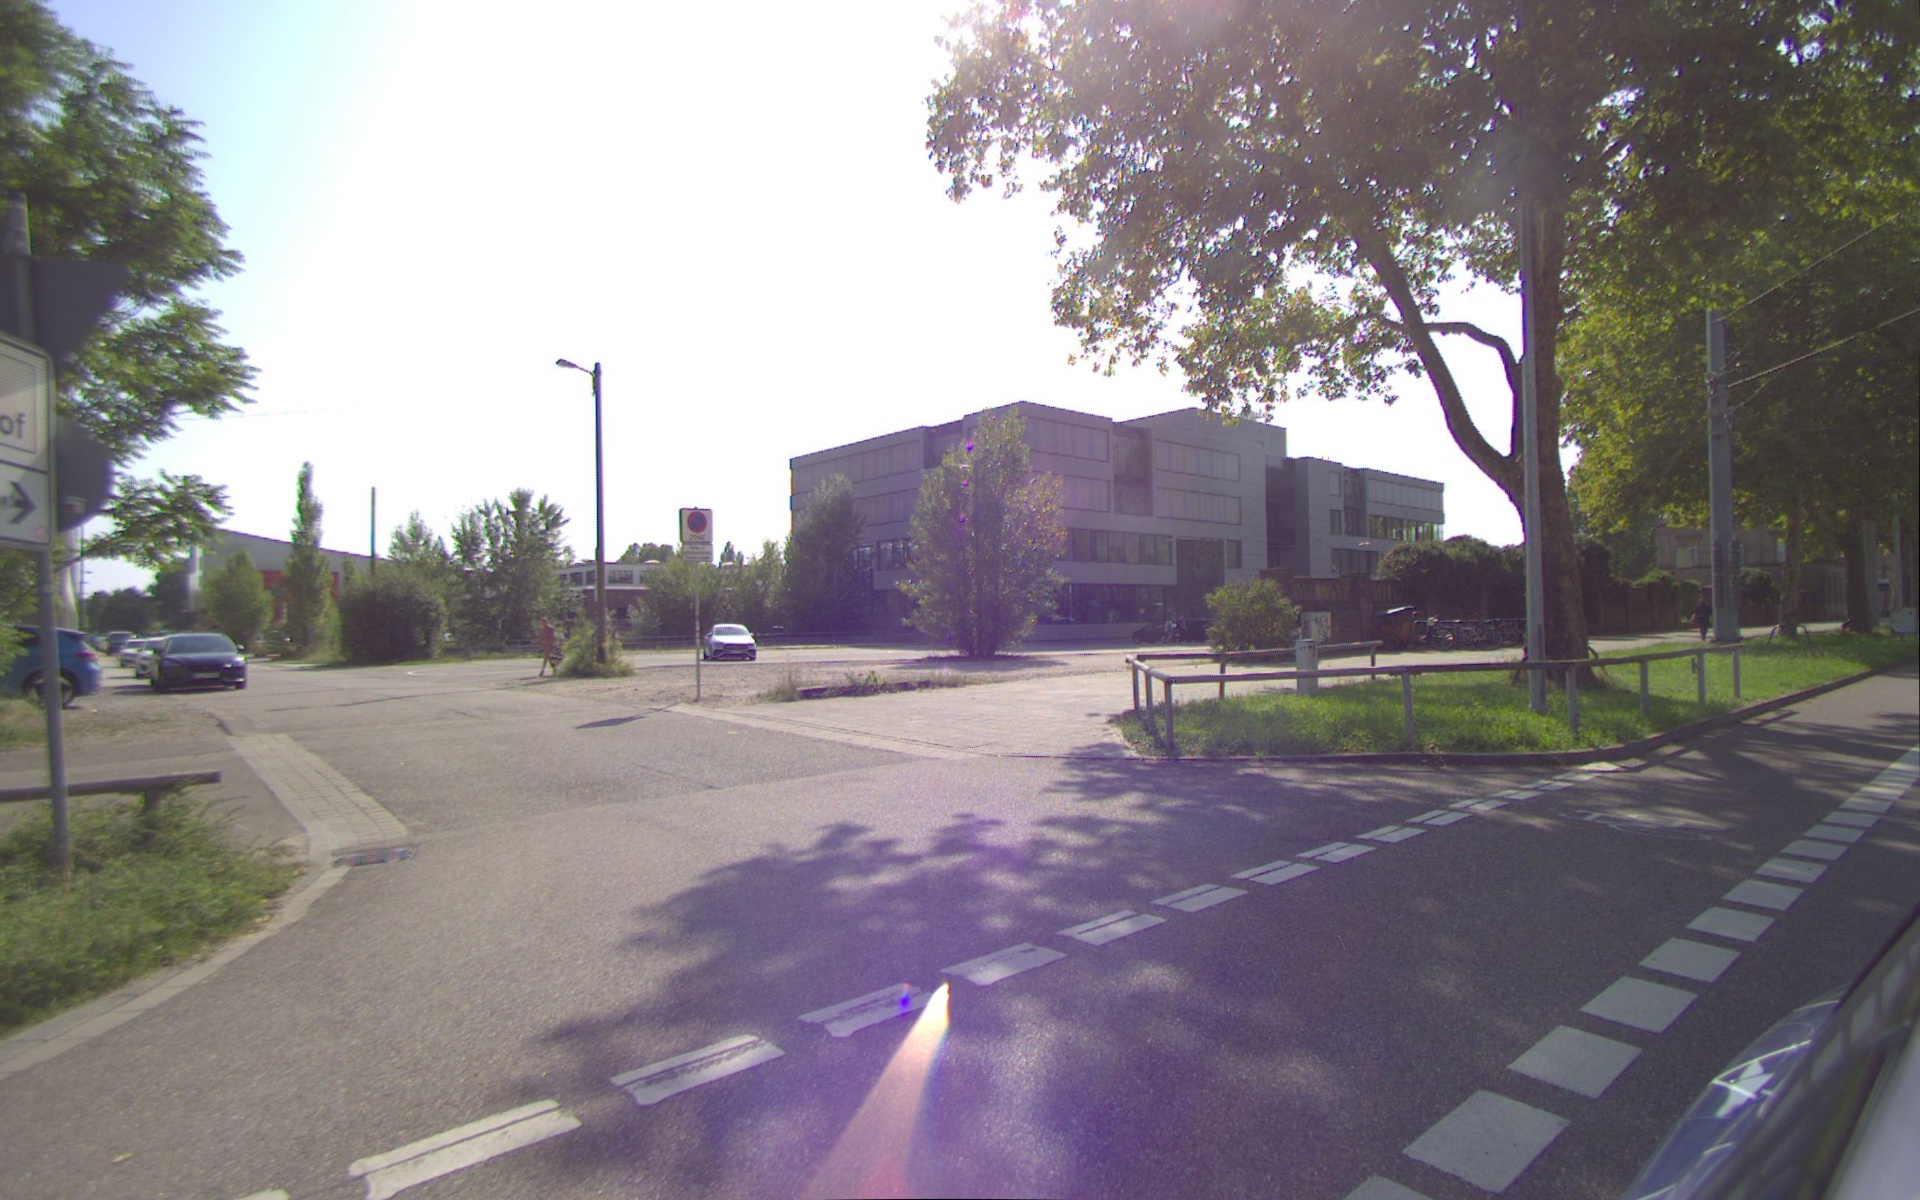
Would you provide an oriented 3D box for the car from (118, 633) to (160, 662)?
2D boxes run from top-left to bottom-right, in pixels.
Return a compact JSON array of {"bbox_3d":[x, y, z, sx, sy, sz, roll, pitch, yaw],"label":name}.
[{"bbox_3d":[-44.040,2.519,54.277,1.676,1.464,3.789,1,-2,-40],"label":"car"}]

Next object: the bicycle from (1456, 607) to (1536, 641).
[{"bbox_3d":[17.372,0.773,32.856,0.731,1.090,2.175,0,-1,-43],"label":"bicycle"}]

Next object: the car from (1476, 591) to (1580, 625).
[{"bbox_3d":[30.254,0.428,54.007,1.877,1.756,4.525,1,-1,-43],"label":"car"}]

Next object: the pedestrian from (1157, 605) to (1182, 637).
[{"bbox_3d":[13.352,1.328,64.410,1.334,2.039,0.940,0,-1,-42],"label":"pedestrian"}]

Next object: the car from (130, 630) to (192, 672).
[{"bbox_3d":[-29.893,1.900,37.808,1.676,1.464,3.789,1,-2,-40],"label":"car"}]

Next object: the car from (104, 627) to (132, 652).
[{"bbox_3d":[-71.038,3.338,85.385,1.677,2.077,3.788,1,-3,-41],"label":"car"}]

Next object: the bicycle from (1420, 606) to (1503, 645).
[{"bbox_3d":[15.227,0.751,30.789,0.729,1.090,2.179,0,1,-37],"label":"bicycle"}]

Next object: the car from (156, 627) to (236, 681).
[{"bbox_3d":[-22.725,1.575,30.074,1.676,1.464,3.789,1,-2,-40],"label":"car"}]

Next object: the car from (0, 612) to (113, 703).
[{"bbox_3d":[-17.739,1.034,18.019,1.702,1.596,3.896,-3,-3,42],"label":"car"}]

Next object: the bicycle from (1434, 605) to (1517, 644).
[{"bbox_3d":[15.884,0.738,31.254,0.729,1.090,2.179,0,1,-37],"label":"bicycle"}]

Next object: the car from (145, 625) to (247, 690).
[{"bbox_3d":[-19.476,1.423,25.733,1.717,1.504,3.787,1,-3,-43],"label":"car"}]

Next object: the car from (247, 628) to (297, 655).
[{"bbox_3d":[-50.145,2.970,73.867,1.958,1.738,4.008,0,0,-17],"label":"car"}]

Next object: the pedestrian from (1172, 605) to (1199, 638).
[{"bbox_3d":[14.182,1.368,63.699,1.365,2.039,1.078,0,-1,-42],"label":"pedestrian"}]

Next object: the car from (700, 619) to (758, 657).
[{"bbox_3d":[-9.266,1.484,40.413,1.650,1.401,3.786,0,-1,-22],"label":"car"}]

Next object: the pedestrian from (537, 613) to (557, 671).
[{"bbox_3d":[-11.672,1.178,28.620,0.509,1.600,0.502,0,-1,-20],"label":"pedestrian"}]

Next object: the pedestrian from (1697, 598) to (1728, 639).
[{"bbox_3d":[28.425,0.690,38.221,0.773,1.534,0.785,1,-2,-42],"label":"pedestrian"}]

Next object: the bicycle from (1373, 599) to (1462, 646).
[{"bbox_3d":[13.682,0.650,30.330,0.982,1.293,2.247,-1,2,-42],"label":"bicycle"}]
